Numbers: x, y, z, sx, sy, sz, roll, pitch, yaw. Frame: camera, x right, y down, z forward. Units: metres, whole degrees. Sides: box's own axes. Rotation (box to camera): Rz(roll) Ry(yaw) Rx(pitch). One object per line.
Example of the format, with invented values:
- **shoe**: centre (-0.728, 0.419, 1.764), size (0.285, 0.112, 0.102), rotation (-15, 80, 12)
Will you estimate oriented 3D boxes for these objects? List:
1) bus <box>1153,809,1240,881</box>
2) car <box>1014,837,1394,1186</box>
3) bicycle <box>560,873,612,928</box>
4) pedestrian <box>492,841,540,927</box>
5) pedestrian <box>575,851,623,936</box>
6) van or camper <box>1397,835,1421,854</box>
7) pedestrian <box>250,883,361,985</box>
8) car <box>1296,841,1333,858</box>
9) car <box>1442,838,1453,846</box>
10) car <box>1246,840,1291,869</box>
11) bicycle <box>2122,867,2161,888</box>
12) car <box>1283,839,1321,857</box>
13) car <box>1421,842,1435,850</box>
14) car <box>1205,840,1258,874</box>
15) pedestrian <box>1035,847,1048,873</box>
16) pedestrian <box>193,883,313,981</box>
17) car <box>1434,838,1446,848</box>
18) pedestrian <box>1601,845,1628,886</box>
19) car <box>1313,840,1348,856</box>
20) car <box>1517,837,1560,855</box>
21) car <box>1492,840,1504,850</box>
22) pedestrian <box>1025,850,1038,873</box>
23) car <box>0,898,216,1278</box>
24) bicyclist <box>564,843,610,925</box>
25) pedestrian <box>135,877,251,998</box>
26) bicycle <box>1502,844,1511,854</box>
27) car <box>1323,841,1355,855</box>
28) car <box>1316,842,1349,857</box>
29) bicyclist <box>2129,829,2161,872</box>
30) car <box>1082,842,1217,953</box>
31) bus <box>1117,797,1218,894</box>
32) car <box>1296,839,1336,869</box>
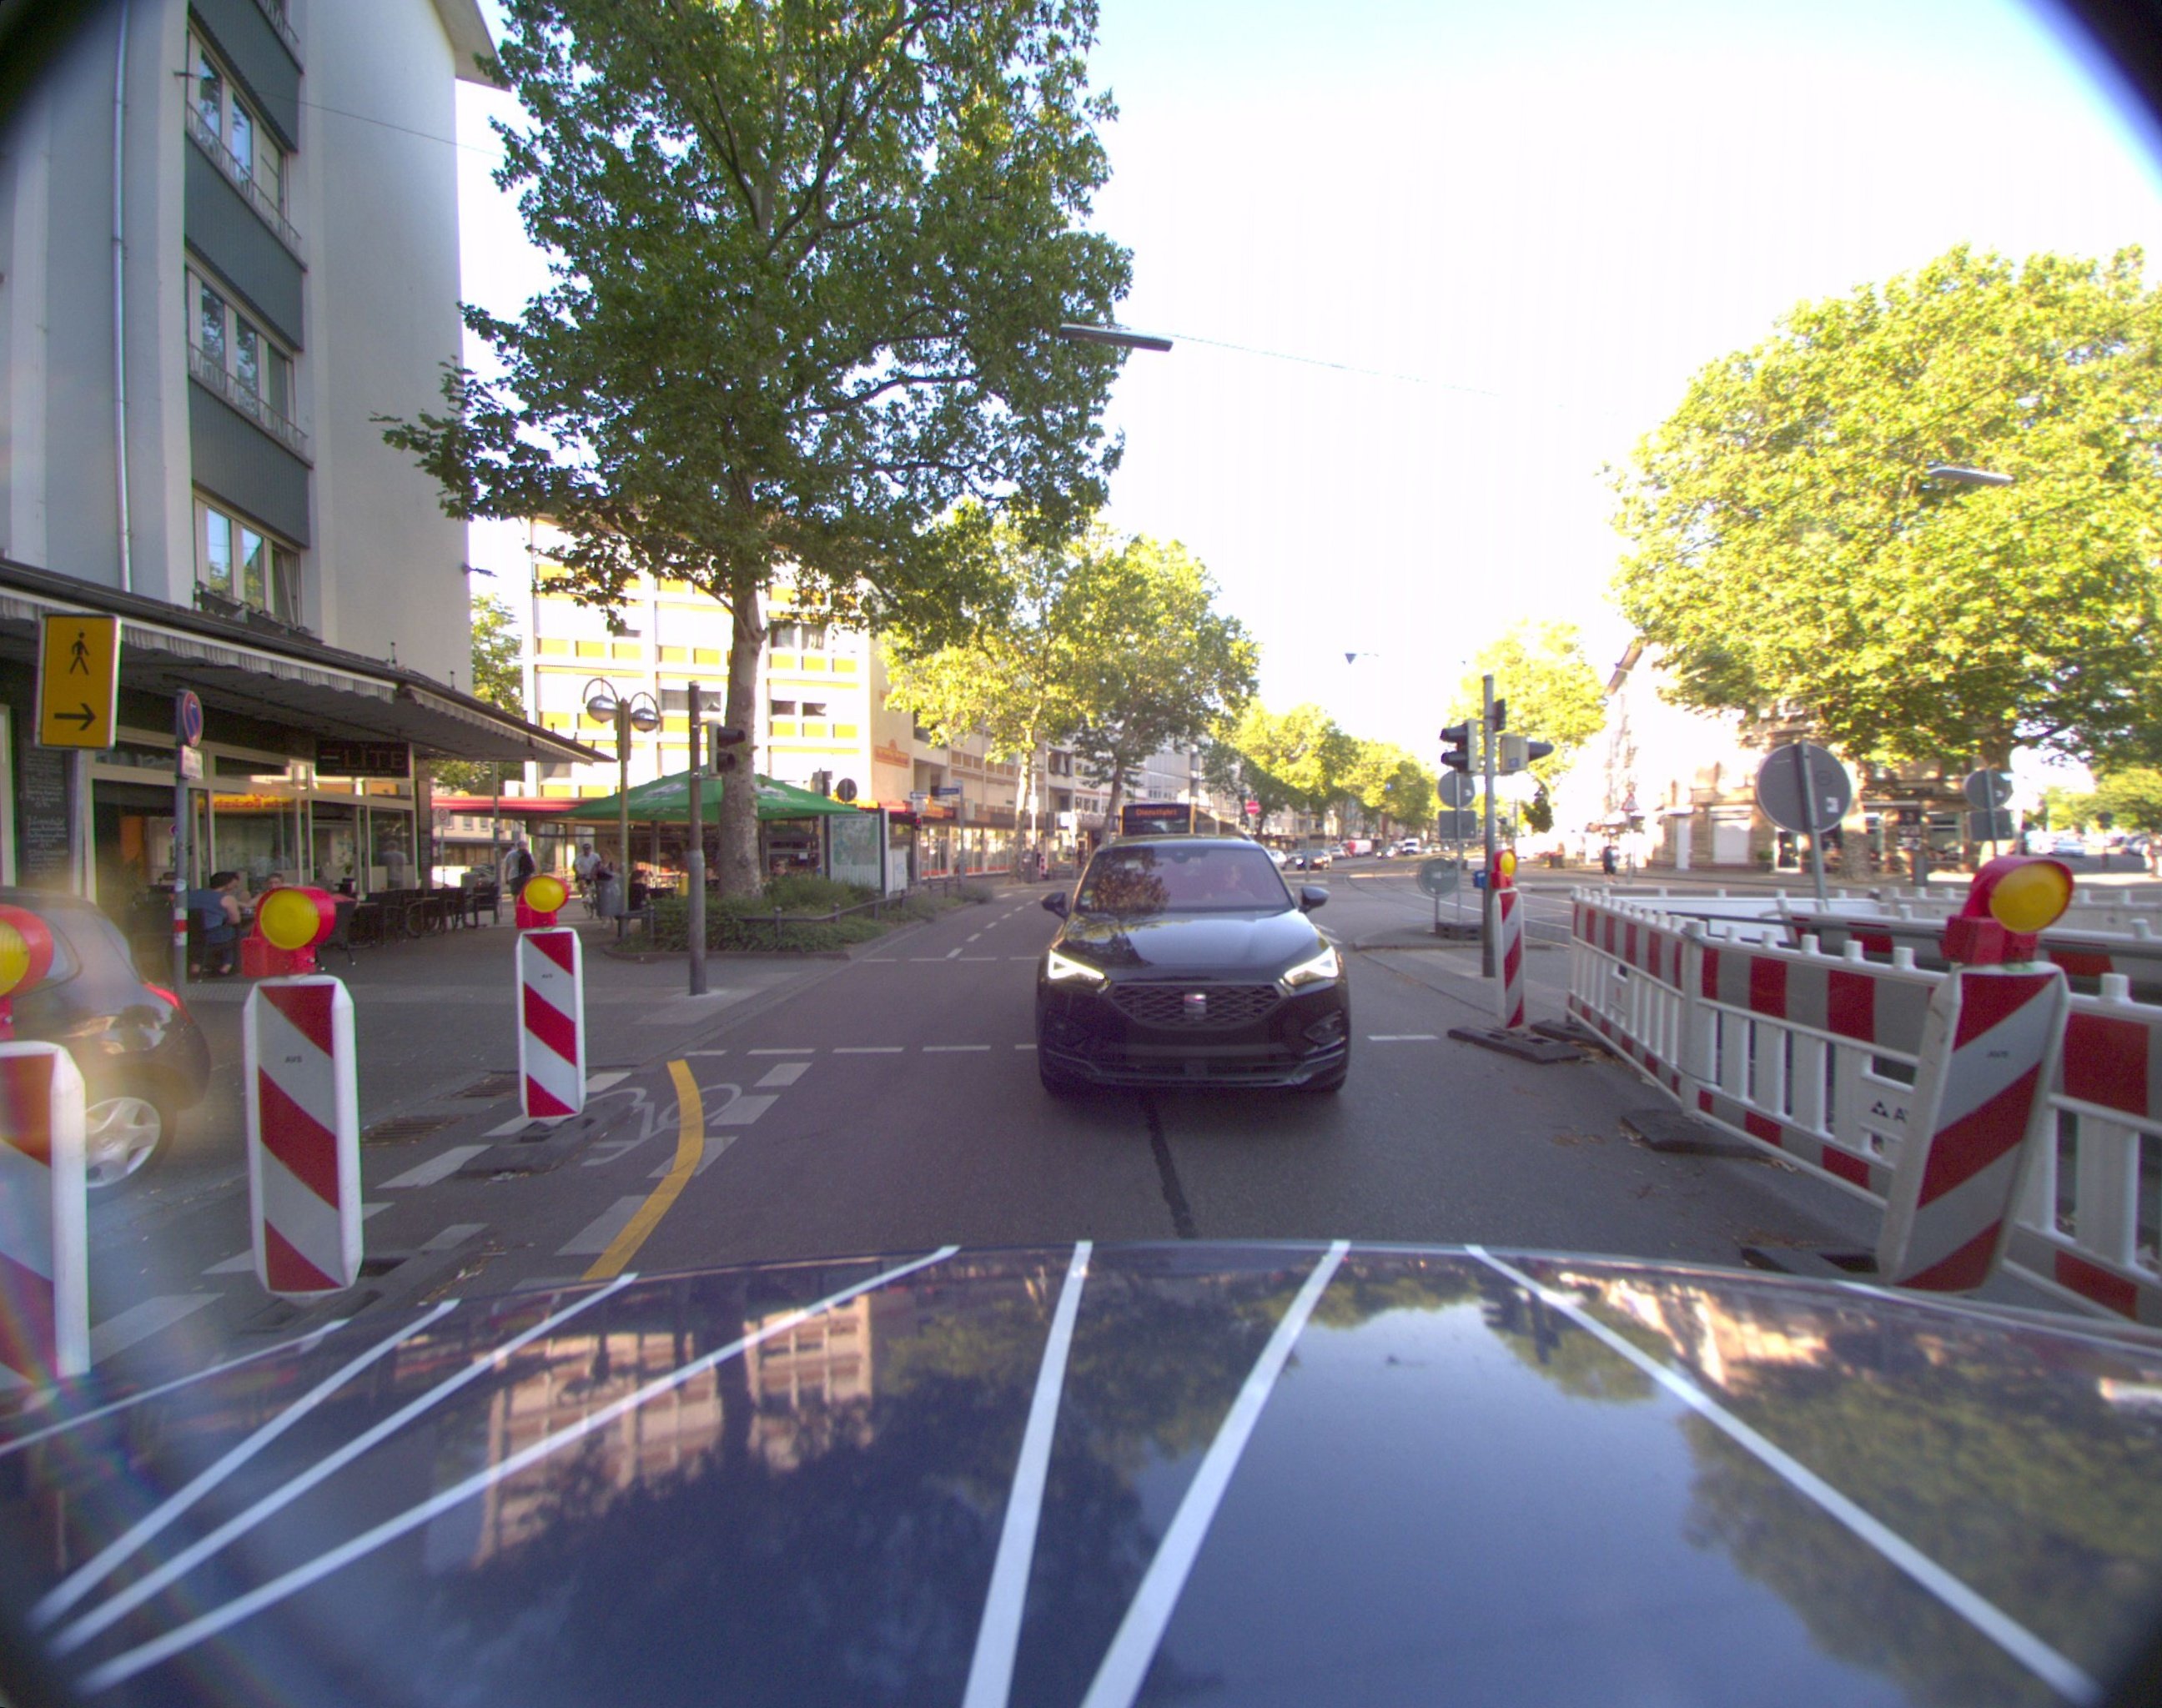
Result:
- **bus**: centre (5.856, -0.447, 37.107), size (2.717, 3.088, 8.608), rotation (0, 1, 19)
- **car**: centre (0.631, 0.754, 5.703), size (1.841, 1.696, 4.000), rotation (-1, 1, 1)
- **bicycle**: centre (-11.299, 1.034, 17.396), size (0.753, 1.123, 1.882), rotation (-2, 1, -27)
- **pedestrian**: centre (-13.153, 0.675, 17.713), size (0.649, 1.948, 0.888), rotation (-1, 1, -21)
- **pedestrian**: centre (-9.469, 0.759, 14.950), size (0.629, 1.628, 0.531), rotation (-1, 1, -15)
- **van or camper**: centre (50.209, -1.458, 116.241), size (2.420, 2.702, 6.144), rotation (0, 1, 32)
- **pedestrian**: centre (-9.850, 0.986, 9.660), size (0.877, 1.186, 0.701), rotation (0, 1, 24)
- **car**: centre (28.516, -0.574, 92.847), size (3.994, 2.002, 2.001), rotation (0, 1, 8)
- **car**: centre (80.936, -2.683, 167.851), size (1.836, 1.792, 4.138), rotation (0, 1, 31)
- **car**: centre (13.696, 0.006, 55.381), size (1.994, 2.002, 4.008), rotation (0, 1, 33)
- **bicycle**: centre (43.155, 0.954, 30.806), size (1.993, 0.777, 0.680), rotation (-1, 1, -23)
- **car**: centre (24.829, -0.704, 85.347), size (3.991, 2.002, 2.003), rotation (0, 1, 18)
- **car**: centre (60.411, -1.422, 132.247), size (1.700, 1.462, 3.771), rotation (0, 1, 31)
- **car**: centre (9.235, 0.159, 46.350), size (1.995, 2.002, 4.105), rotation (0, 1, 29)
- **pedestrian**: centre (-2.437, 0.375, 47.065), size (0.627, 1.577, 0.532), rotation (0, 1, 20)
- **pedestrian**: centre (-10.727, 0.989, 9.871), size (0.647, 1.186, 0.792), rotation (0, 1, 7)
- **car**: centre (69.462, -2.090, 146.971), size (1.836, 1.792, 4.138), rotation (0, 1, 31)
- **pedestrian**: centre (20.349, 0.432, 29.009), size (0.603, 1.524, 0.745), rotation (0, 1, 12)
- **car**: centre (32.375, -0.813, 98.804), size (3.994, 2.002, 2.001), rotation (0, 1, 8)
- **car**: centre (52.464, -0.953, 87.201), size (4.001, 2.002, 1.997), rotation (-1, 1, -13)
- **car**: centre (86.888, -1.928, 158.312), size (1.994, 2.002, 4.007), rotation (0, 1, 29)
- **pedestrian**: centre (-3.098, 0.459, 47.328), size (0.627, 1.429, 0.532), rotation (0, 1, 20)
- **car**: centre (-5.211, 0.969, 2.001), size (1.771, 1.459, 3.610), rotation (2, 1, -2)
- **bicyclist**: centre (-11.353, 0.668, 17.480), size (0.754, 1.816, 0.923), rotation (-1, 1, -27)
- **pedestrian**: centre (-10.366, 0.935, 8.880), size (0.789, 1.299, 0.701), rotation (0, 1, 28)
- **bicycle**: centre (52.107, -0.614, 93.053), size (0.850, 1.186, 2.470), rotation (0, 1, 26)
- **car**: centre (36.560, -0.863, 107.944), size (3.994, 2.002, 2.001), rotation (0, 1, 8)
- **car**: centre (34.348, -0.585, 103.752), size (3.994, 2.002, 2.001), rotation (0, 1, 8)
- **bicyclist**: centre (43.098, -0.128, 30.716), size (0.766, 1.718, 0.672), rotation (-1, 1, -23)
- **car**: centre (1.045, 0.633, 13.330), size (1.998, 1.634, 4.075), rotation (-1, 1, 1)
- **bus**: centre (3.521, -0.302, 28.654), size (2.718, 3.088, 8.629), rotation (0, 1, 13)
- **car**: centre (16.626, -0.021, 53.585), size (1.995, 2.002, 4.007), rotation (0, 1, 27)
